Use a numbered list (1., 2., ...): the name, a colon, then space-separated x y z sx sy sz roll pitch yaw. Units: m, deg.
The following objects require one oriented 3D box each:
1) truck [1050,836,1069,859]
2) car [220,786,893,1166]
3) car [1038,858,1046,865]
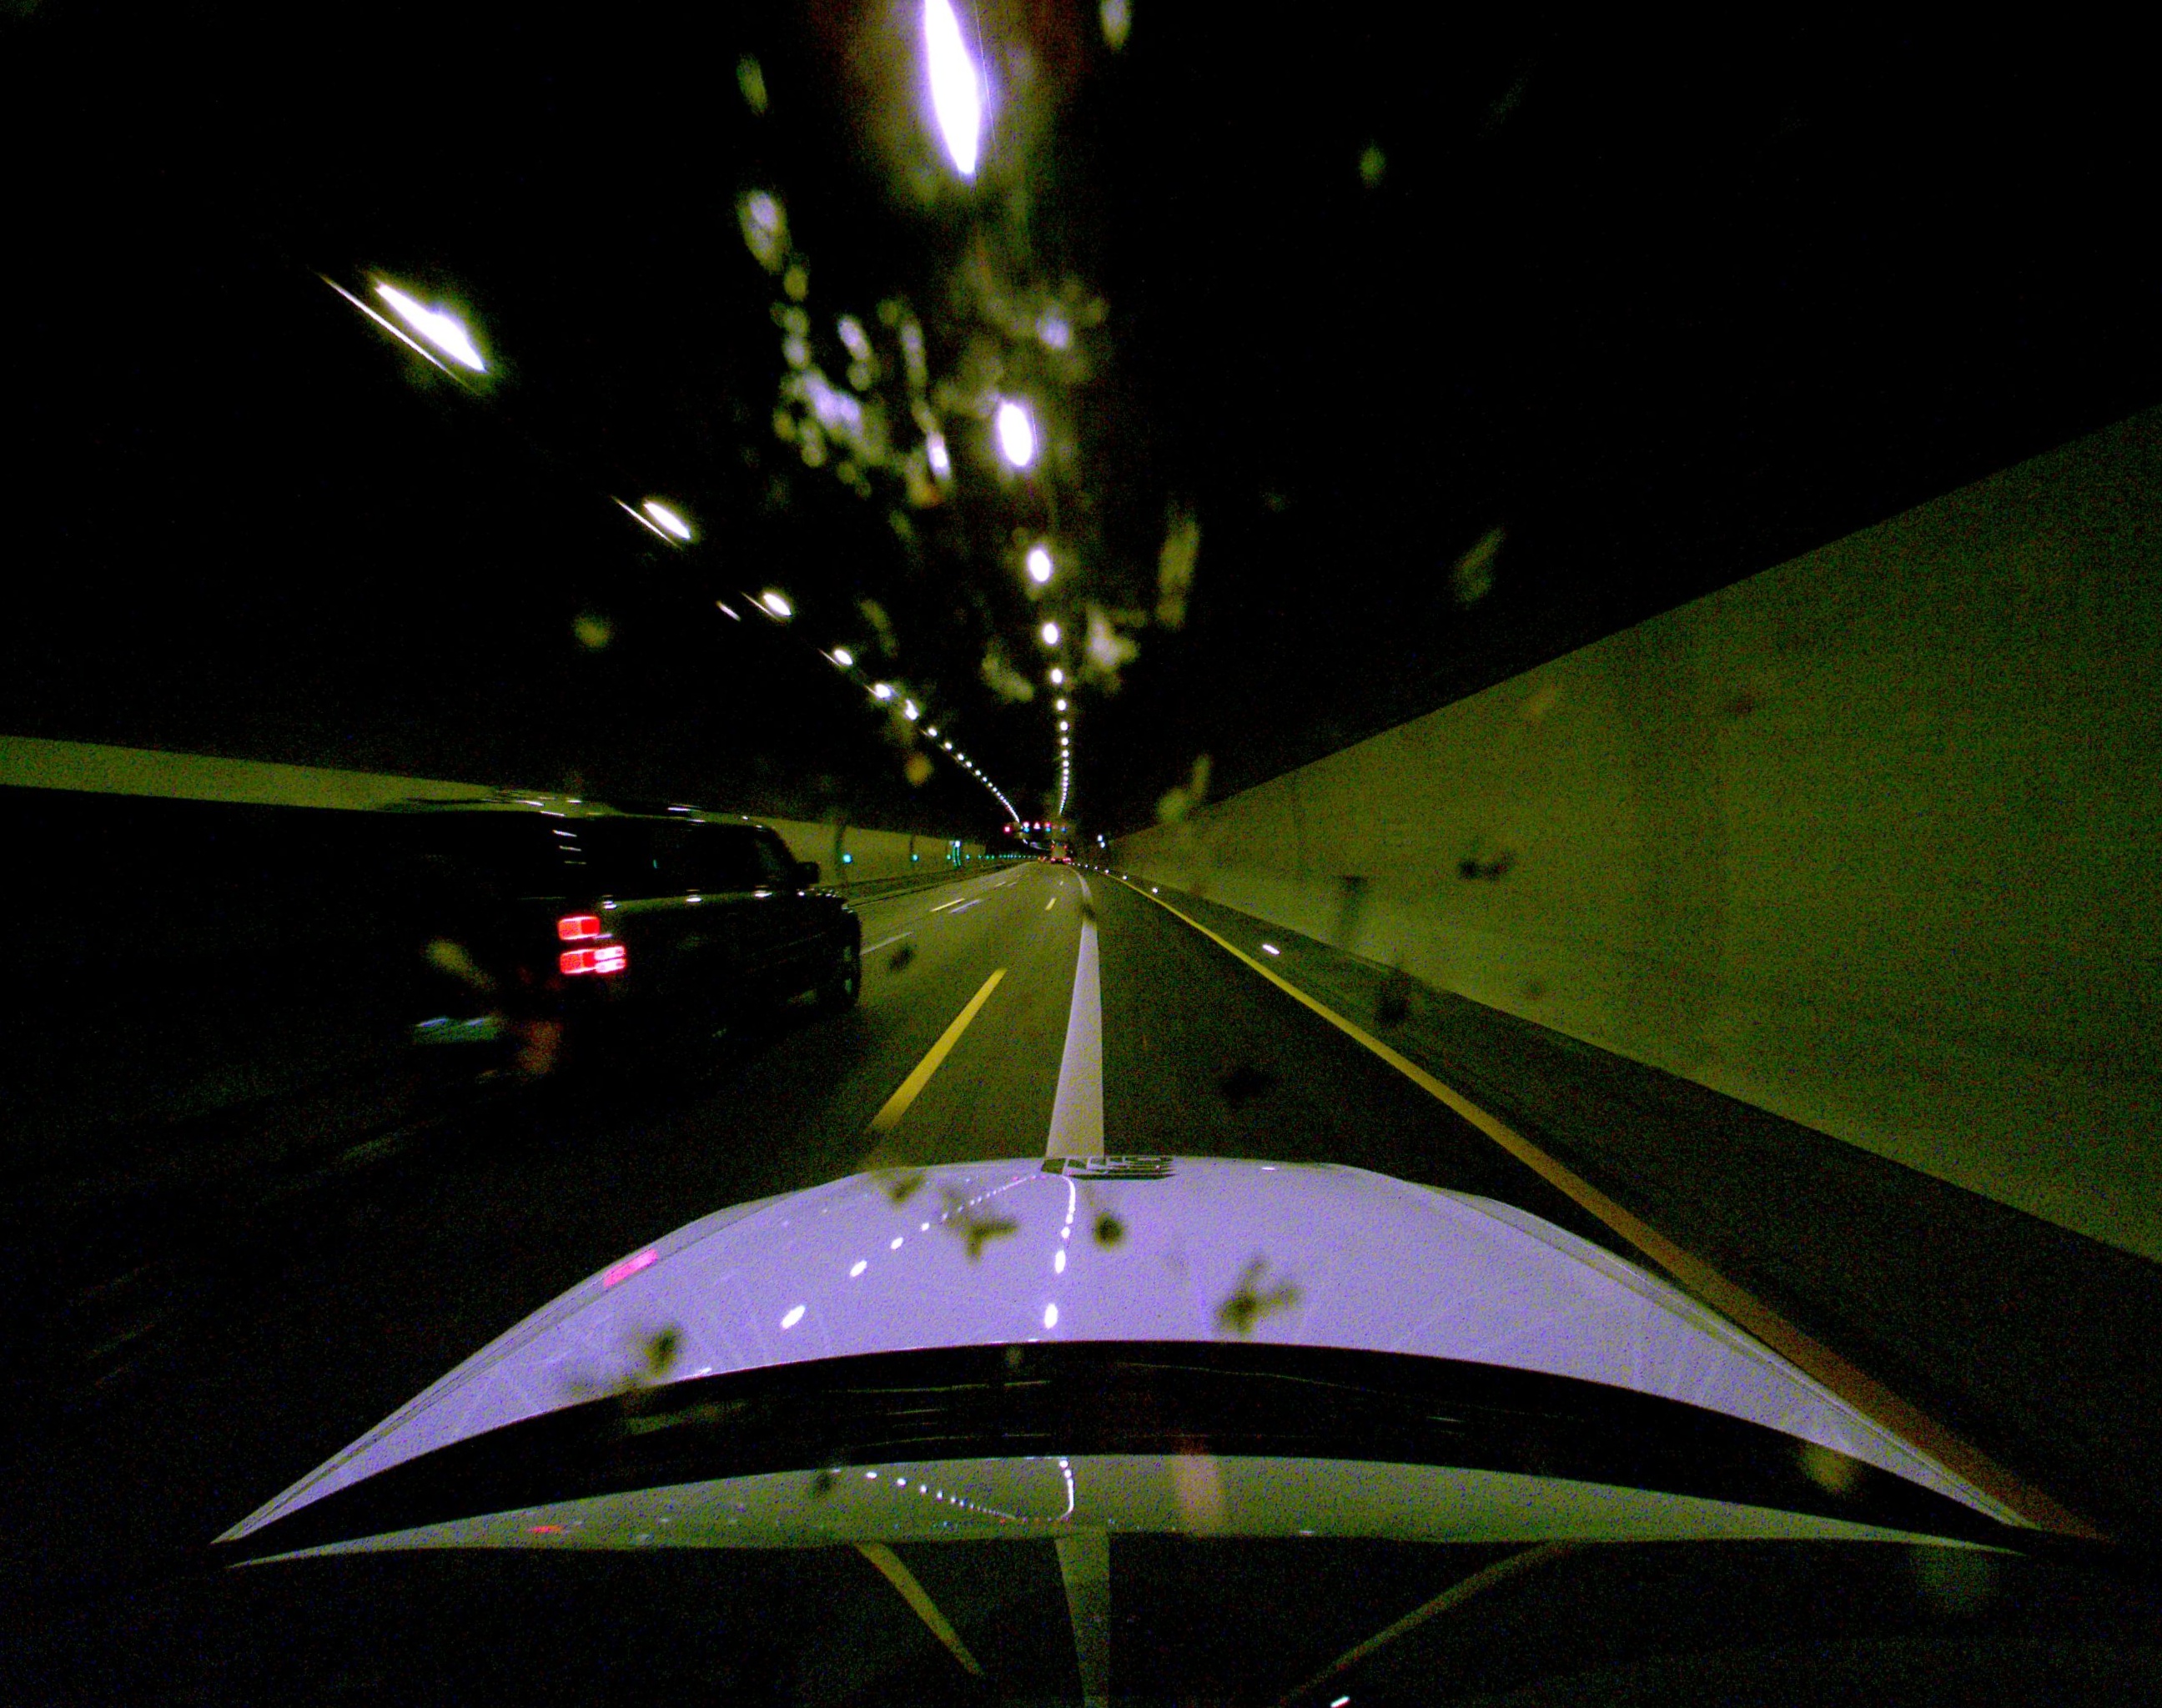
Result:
1. truck: -4.267 -1.342 160.567 3.466 4.316 10.941 -1 0 -3
2. car: -3.289 0.608 6.847 1.986 1.895 5.455 -1 0 1
3. car: -9.857 1.843 206.867 1.989 1.582 3.995 -1 0 -4
